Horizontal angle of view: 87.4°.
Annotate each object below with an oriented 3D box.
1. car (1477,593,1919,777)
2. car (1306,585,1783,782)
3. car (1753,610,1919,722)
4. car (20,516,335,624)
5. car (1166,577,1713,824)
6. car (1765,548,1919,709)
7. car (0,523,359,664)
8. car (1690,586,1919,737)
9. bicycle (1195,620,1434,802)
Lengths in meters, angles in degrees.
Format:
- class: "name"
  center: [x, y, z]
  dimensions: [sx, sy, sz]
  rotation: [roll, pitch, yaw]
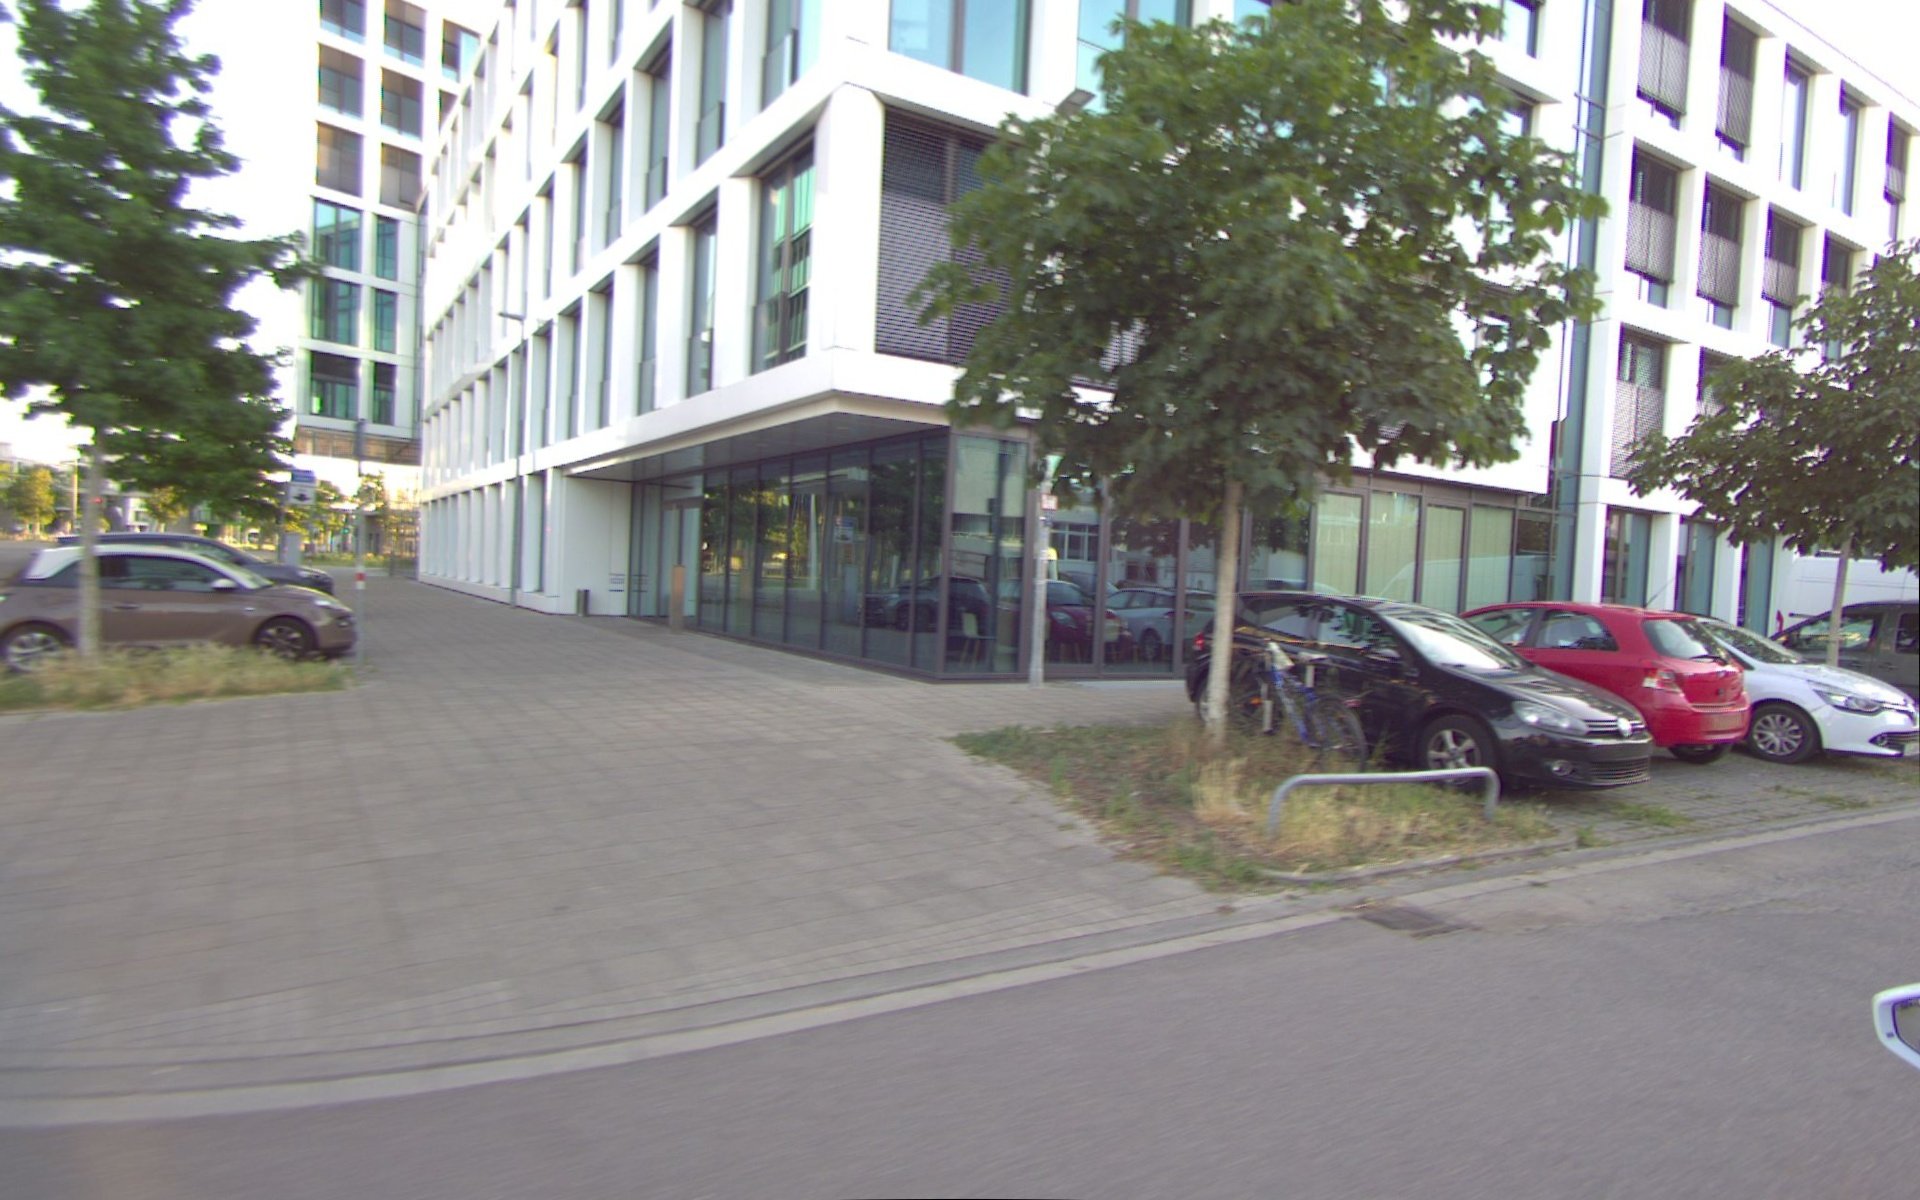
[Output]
- class: "car"
  center: [8.568, 0.825, 11.796]
  dimensions: [1.760, 1.539, 4.087]
  rotation: [2, 3, -30]
- class: "car"
  center: [6.079, 0.727, 10.989]
  dimensions: [1.823, 1.539, 4.087]
  rotation: [2, 3, -30]
- class: "car"
  center: [14.954, 1.066, 15.336]
  dimensions: [1.756, 1.520, 4.082]
  rotation: [1, 3, -34]
- class: "car"
  center: [-14.020, -0.504, 18.317]
  dimensions: [4.330, 1.674, 1.713]
  rotation: [2, 2, -36]
- class: "car"
  center: [3.989, 0.674, 9.089]
  dimensions: [1.824, 1.539, 4.086]
  rotation: [2, 3, -31]
- class: "car"
  center: [17.202, 0.548, 16.775]
  dimensions: [2.053, 2.668, 5.357]
  rotation: [2, 3, -28]
- class: "car"
  center: [-9.682, -0.066, 12.449]
  dimensions: [3.688, 1.516, 1.713]
  rotation: [2, 2, -36]
- class: "car"
  center: [12.967, 0.847, 13.992]
  dimensions: [1.797, 1.841, 4.082]
  rotation: [1, 3, -34]
- class: "bicycle"
  center: [2.577, 0.758, 7.507]
  dimensions: [0.560, 1.080, 1.688]
  rotation: [2, 3, -29]
